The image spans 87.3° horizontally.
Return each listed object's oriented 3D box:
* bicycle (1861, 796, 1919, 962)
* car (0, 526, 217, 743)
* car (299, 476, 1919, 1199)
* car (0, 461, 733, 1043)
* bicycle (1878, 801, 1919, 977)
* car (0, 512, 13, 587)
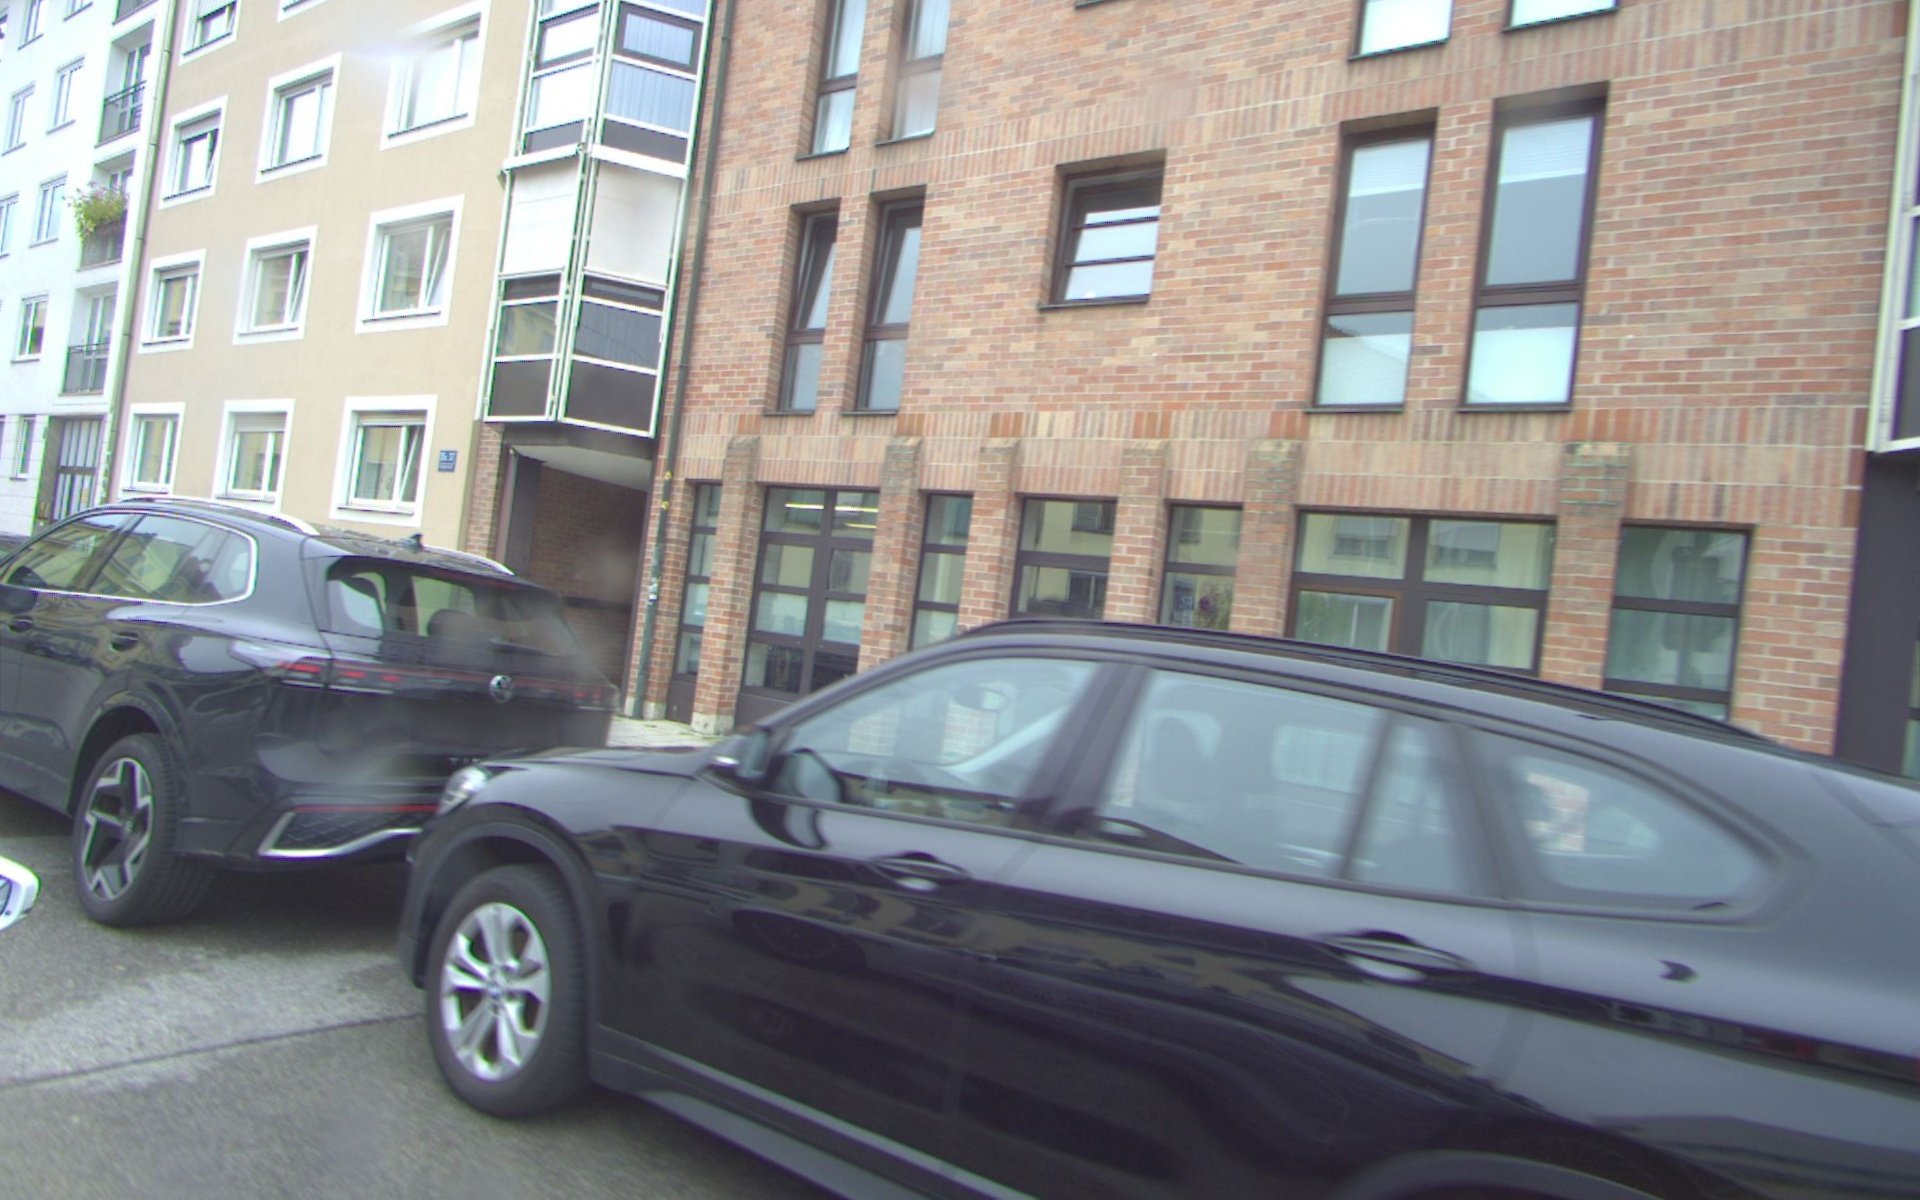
[{"bbox_3d":[7.368,2.033,6.641,1.962,1.071,0.487,7,-3,31],"label":"bicycle"},{"bbox_3d":[-8.072,0.072,7.985,4.202,1.336,1.893,8,-3,31],"label":"car"},{"bbox_3d":[0.288,0.768,2.926,4.193,1.619,1.836,8,-3,30],"label":"car"},{"bbox_3d":[-3.622,0.353,4.965,4.591,1.619,1.971,8,-3,30],"label":"car"},{"bbox_3d":[7.023,1.962,6.143,1.962,1.071,0.487,6,-3,31],"label":"bicycle"},{"bbox_3d":[-12.386,-0.496,10.829,4.664,1.491,1.892,6,-4,31],"label":"car"}]
